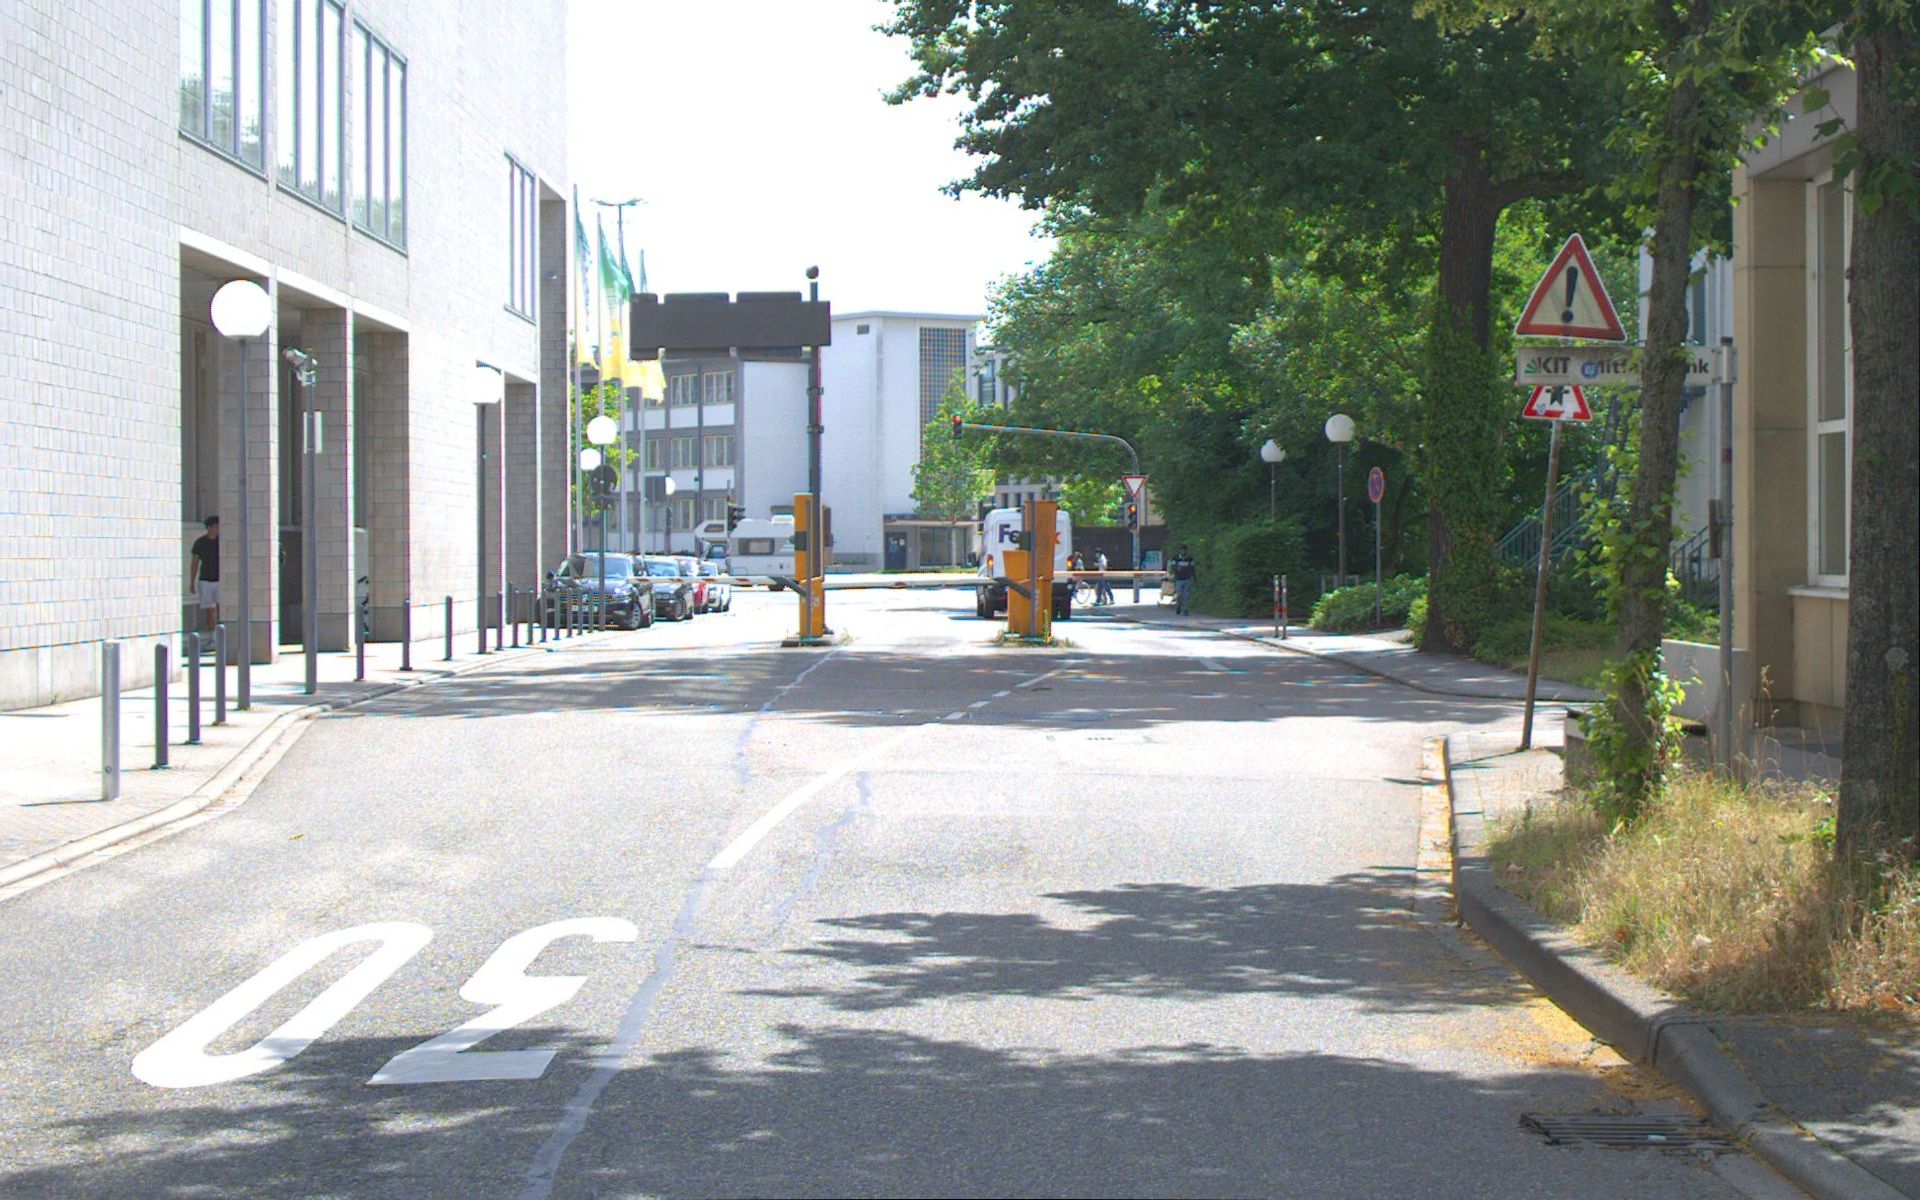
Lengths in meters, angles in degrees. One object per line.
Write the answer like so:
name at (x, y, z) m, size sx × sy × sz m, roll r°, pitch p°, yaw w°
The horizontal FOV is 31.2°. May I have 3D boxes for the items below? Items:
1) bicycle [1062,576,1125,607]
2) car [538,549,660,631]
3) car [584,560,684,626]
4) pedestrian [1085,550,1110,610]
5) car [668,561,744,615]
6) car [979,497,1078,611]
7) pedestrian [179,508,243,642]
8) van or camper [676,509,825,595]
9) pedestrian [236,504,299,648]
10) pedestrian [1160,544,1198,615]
bicycle at (4.269, -0.268, 110.129) m, size 2.101 × 0.992 × 0.679 m, roll 0°, pitch 1°, yaw -40°
car at (-6.945, -0.225, 66.563) m, size 1.859 × 1.462 × 4.719 m, roll 2°, pitch 1°, yaw 0°
car at (-7.421, -0.182, 78.673) m, size 1.859 × 1.373 × 5.016 m, roll 2°, pitch 1°, yaw -1°
pedestrian at (4.274, -0.618, 106.937) m, size 0.767 × 1.853 × 0.722 m, roll 0°, pitch 1°, yaw 2°
car at (-6.997, -0.359, 95.056) m, size 1.676 × 1.390 × 4.662 m, roll 2°, pitch 1°, yaw 1°
car at (1.572, -1.097, 80.820) m, size 2.095 × 2.558 × 5.602 m, roll -1°, pitch 1°, yaw -1°
pedestrian at (-10.573, -0.357, 48.550) m, size 0.731 × 1.874 × 0.720 m, roll 1°, pitch 1°, yaw 0°
van or camper at (-8.110, -1.854, 133.481) m, size 5.710 × 3.248 × 2.356 m, roll -1°, pitch 0°, yaw -2°
pedestrian at (-9.784, -0.339, 48.569) m, size 0.699 × 2.007 × 0.830 m, roll 1°, pitch 1°, yaw 0°
pedestrian at (5.168, -0.489, 81.170) m, size 0.739 × 1.669 × 1.257 m, roll 0°, pitch 1°, yaw -3°
